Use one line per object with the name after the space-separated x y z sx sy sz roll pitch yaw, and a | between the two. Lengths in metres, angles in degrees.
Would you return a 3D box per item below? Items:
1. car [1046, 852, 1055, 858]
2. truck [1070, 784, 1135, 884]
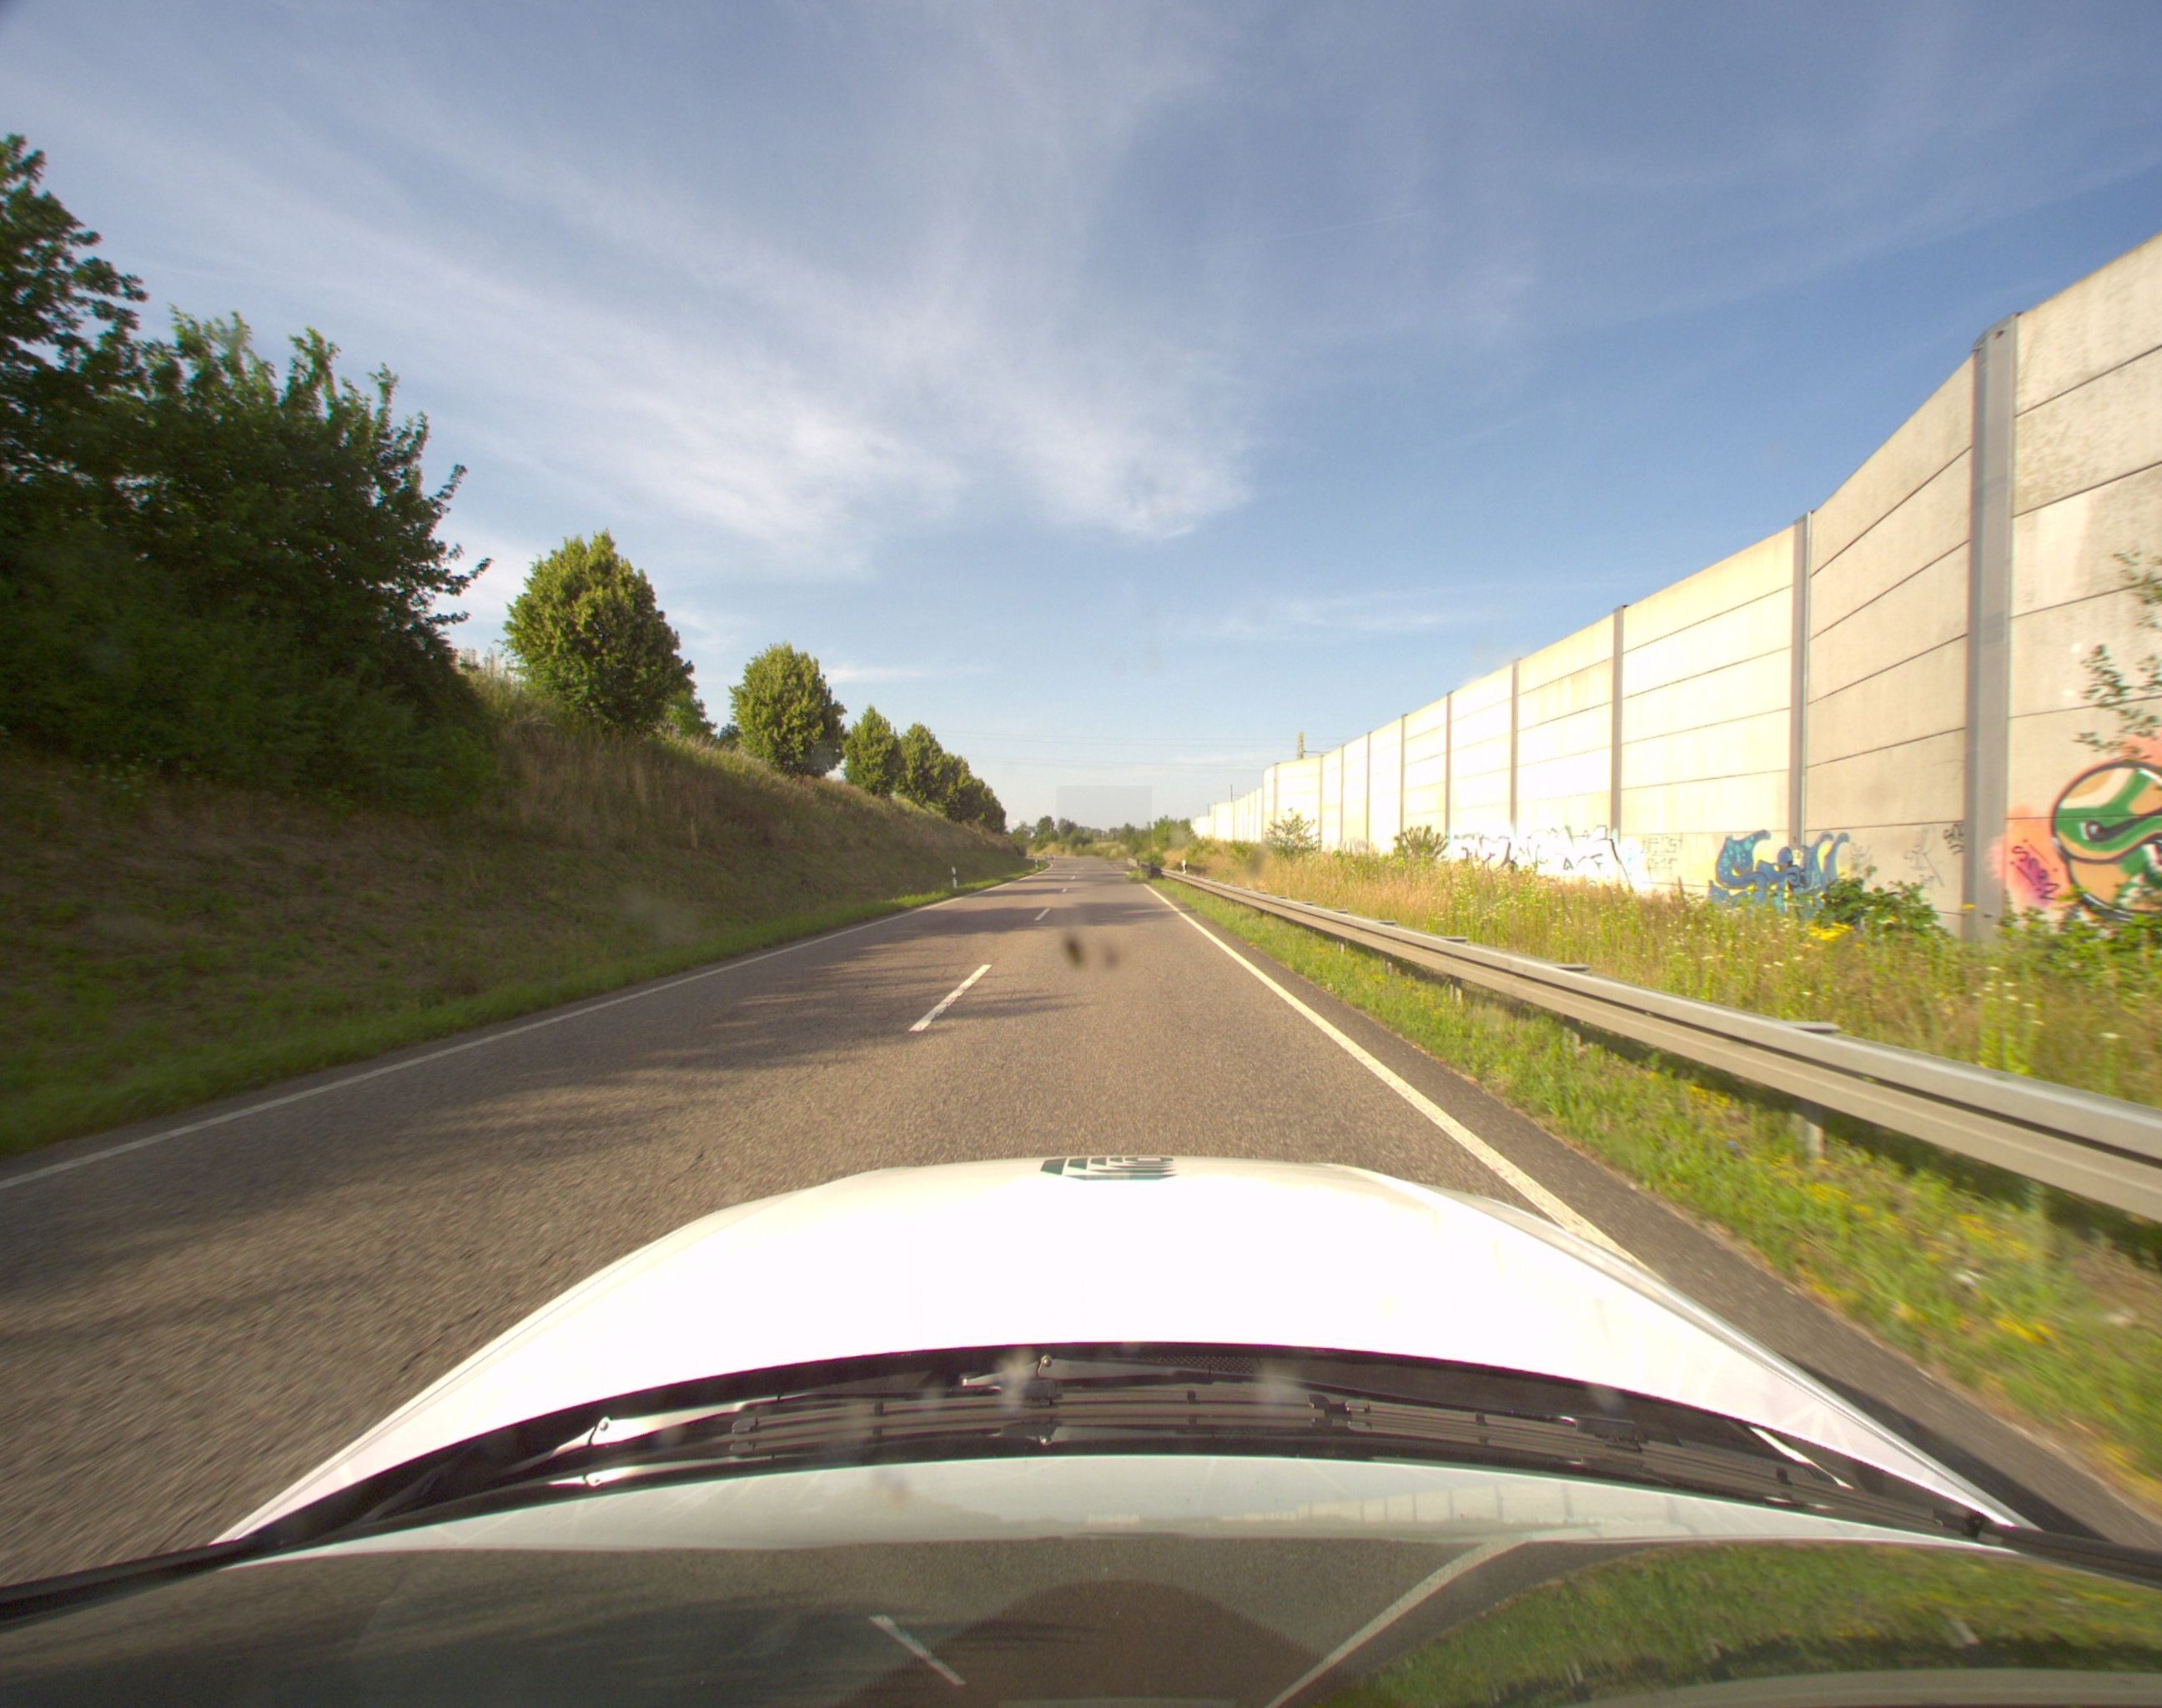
-7.862 0.311 208.130 2.038 1.581 4.362 0 0 2 | car
1.138 -1.092 48.023 3.280 5.089 12.037 -1 0 0 | truck
